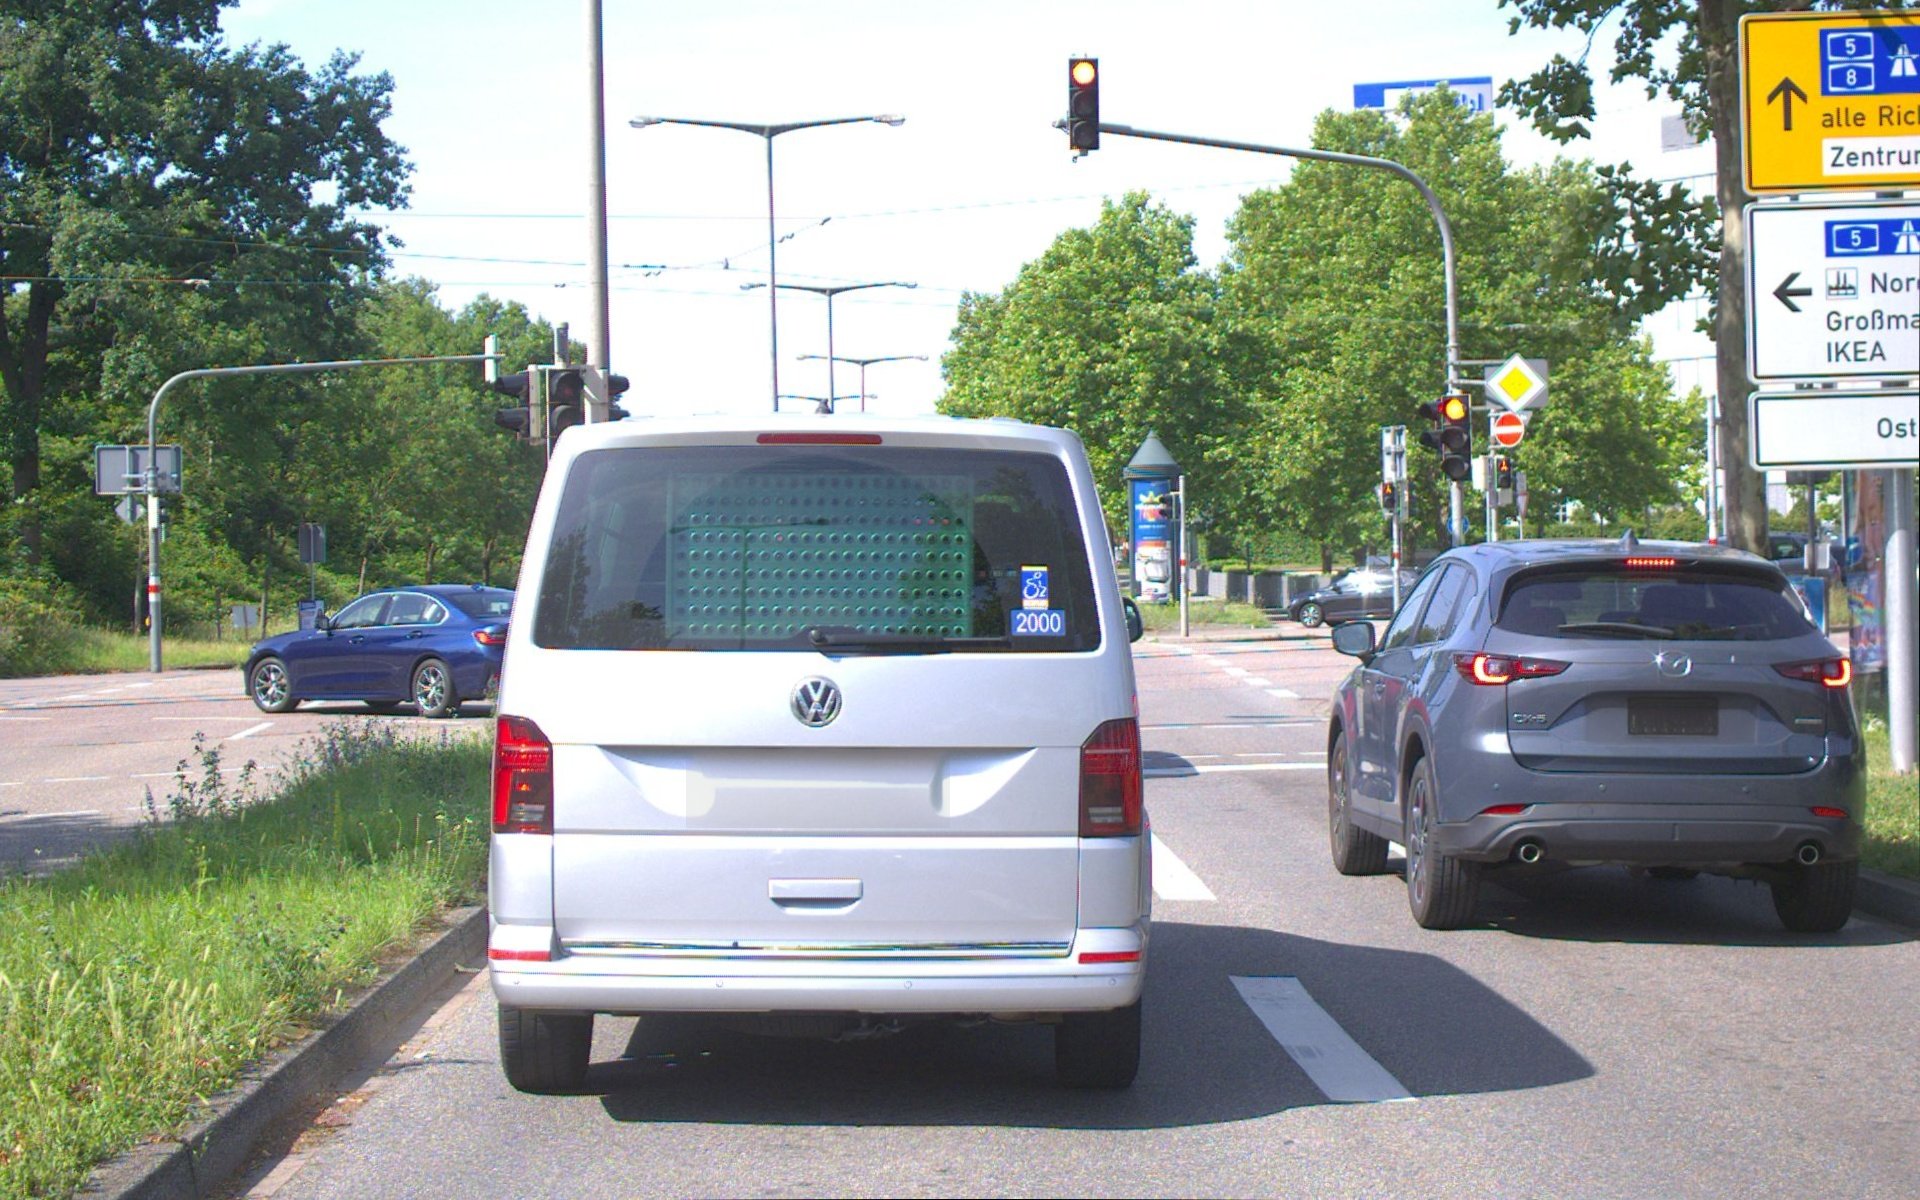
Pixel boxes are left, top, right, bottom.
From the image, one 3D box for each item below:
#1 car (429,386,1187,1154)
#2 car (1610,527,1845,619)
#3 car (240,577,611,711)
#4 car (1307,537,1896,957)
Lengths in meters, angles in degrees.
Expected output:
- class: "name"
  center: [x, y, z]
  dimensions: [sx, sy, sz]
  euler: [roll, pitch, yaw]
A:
- class: "car"
  center: [-0.420, 0.419, 11.400]
  dimensions: [1.941, 1.965, 5.022]
  euler: [-1, 0, -1]
- class: "car"
  center: [15.077, -0.532, 67.401]
  dimensions: [4.613, 1.683, 1.915]
  euler: [-2, 1, -37]
- class: "car"
  center: [-6.058, 0.481, 38.707]
  dimensions: [4.321, 1.392, 1.788]
  euler: [-1, 1, 42]
- class: "car"
  center: [2.780, 0.568, 15.915]
  dimensions: [1.766, 1.653, 4.496]
  euler: [1, 0, -1]
